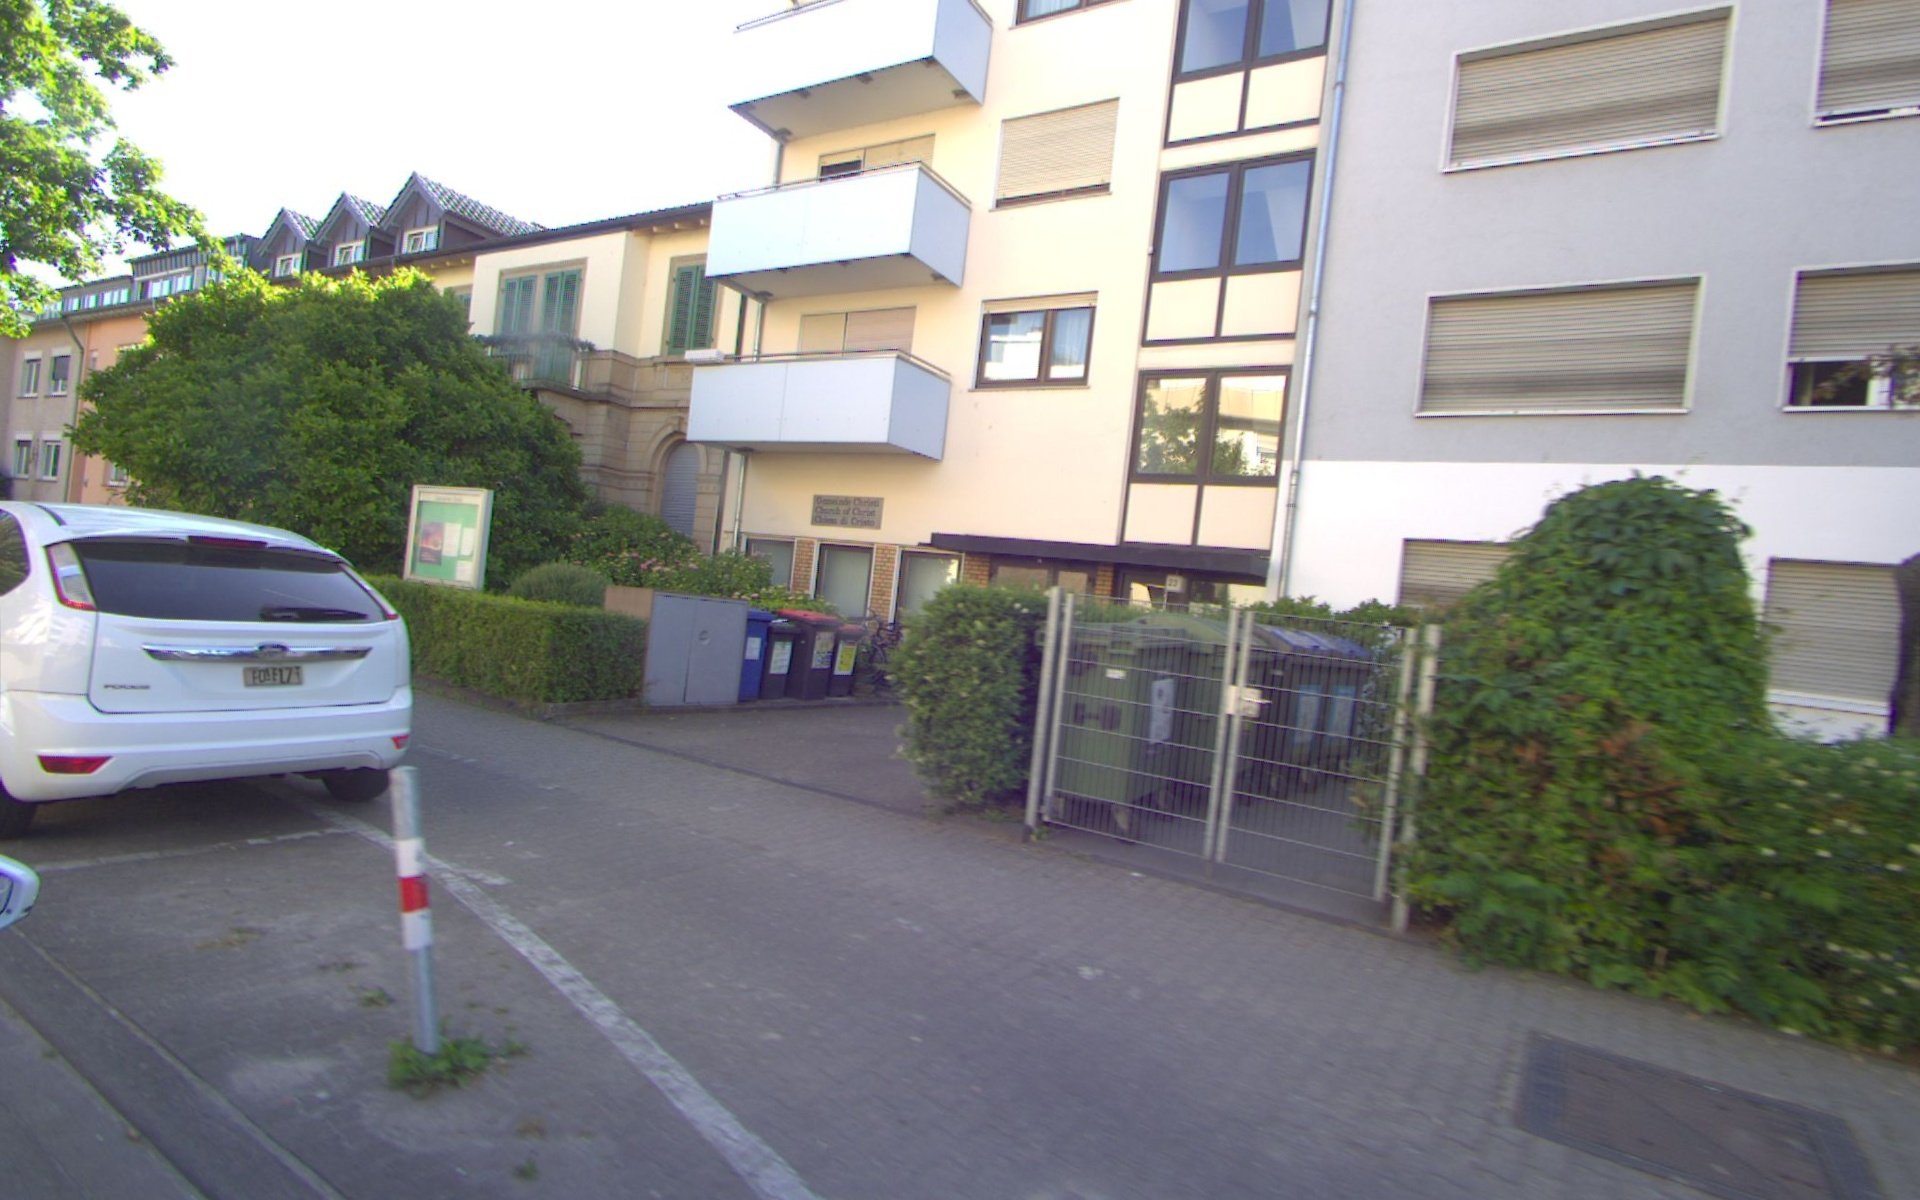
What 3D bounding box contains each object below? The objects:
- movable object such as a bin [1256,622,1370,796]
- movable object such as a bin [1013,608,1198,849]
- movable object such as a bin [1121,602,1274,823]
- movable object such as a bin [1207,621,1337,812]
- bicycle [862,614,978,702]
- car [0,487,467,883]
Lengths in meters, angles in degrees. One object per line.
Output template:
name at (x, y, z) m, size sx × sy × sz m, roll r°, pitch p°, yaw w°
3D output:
movable object such as a bin at (3.489, 1.029, 9.890) m, size 0.828 × 1.510 × 1.089 m, roll 7°, pitch 1°, yaw 23°
movable object such as a bin at (1.002, 0.789, 6.725) m, size 0.828 × 1.373 × 1.140 m, roll 7°, pitch 2°, yaw 23°
movable object such as a bin at (1.863, 0.824, 7.775) m, size 0.828 × 1.492 × 1.089 m, roll 7°, pitch 1°, yaw 23°
movable object such as a bin at (2.741, 0.970, 8.765) m, size 0.828 × 1.456 × 1.089 m, roll 7°, pitch 1°, yaw 23°
bicycle at (-0.621, 0.863, 15.216) m, size 1.690 × 1.122 × 0.459 m, roll 6°, pitch 0°, yaw 32°
car at (-4.834, 0.205, 5.675) m, size 4.128 × 1.500 × 1.740 m, roll 6°, pitch 0°, yaw 33°
